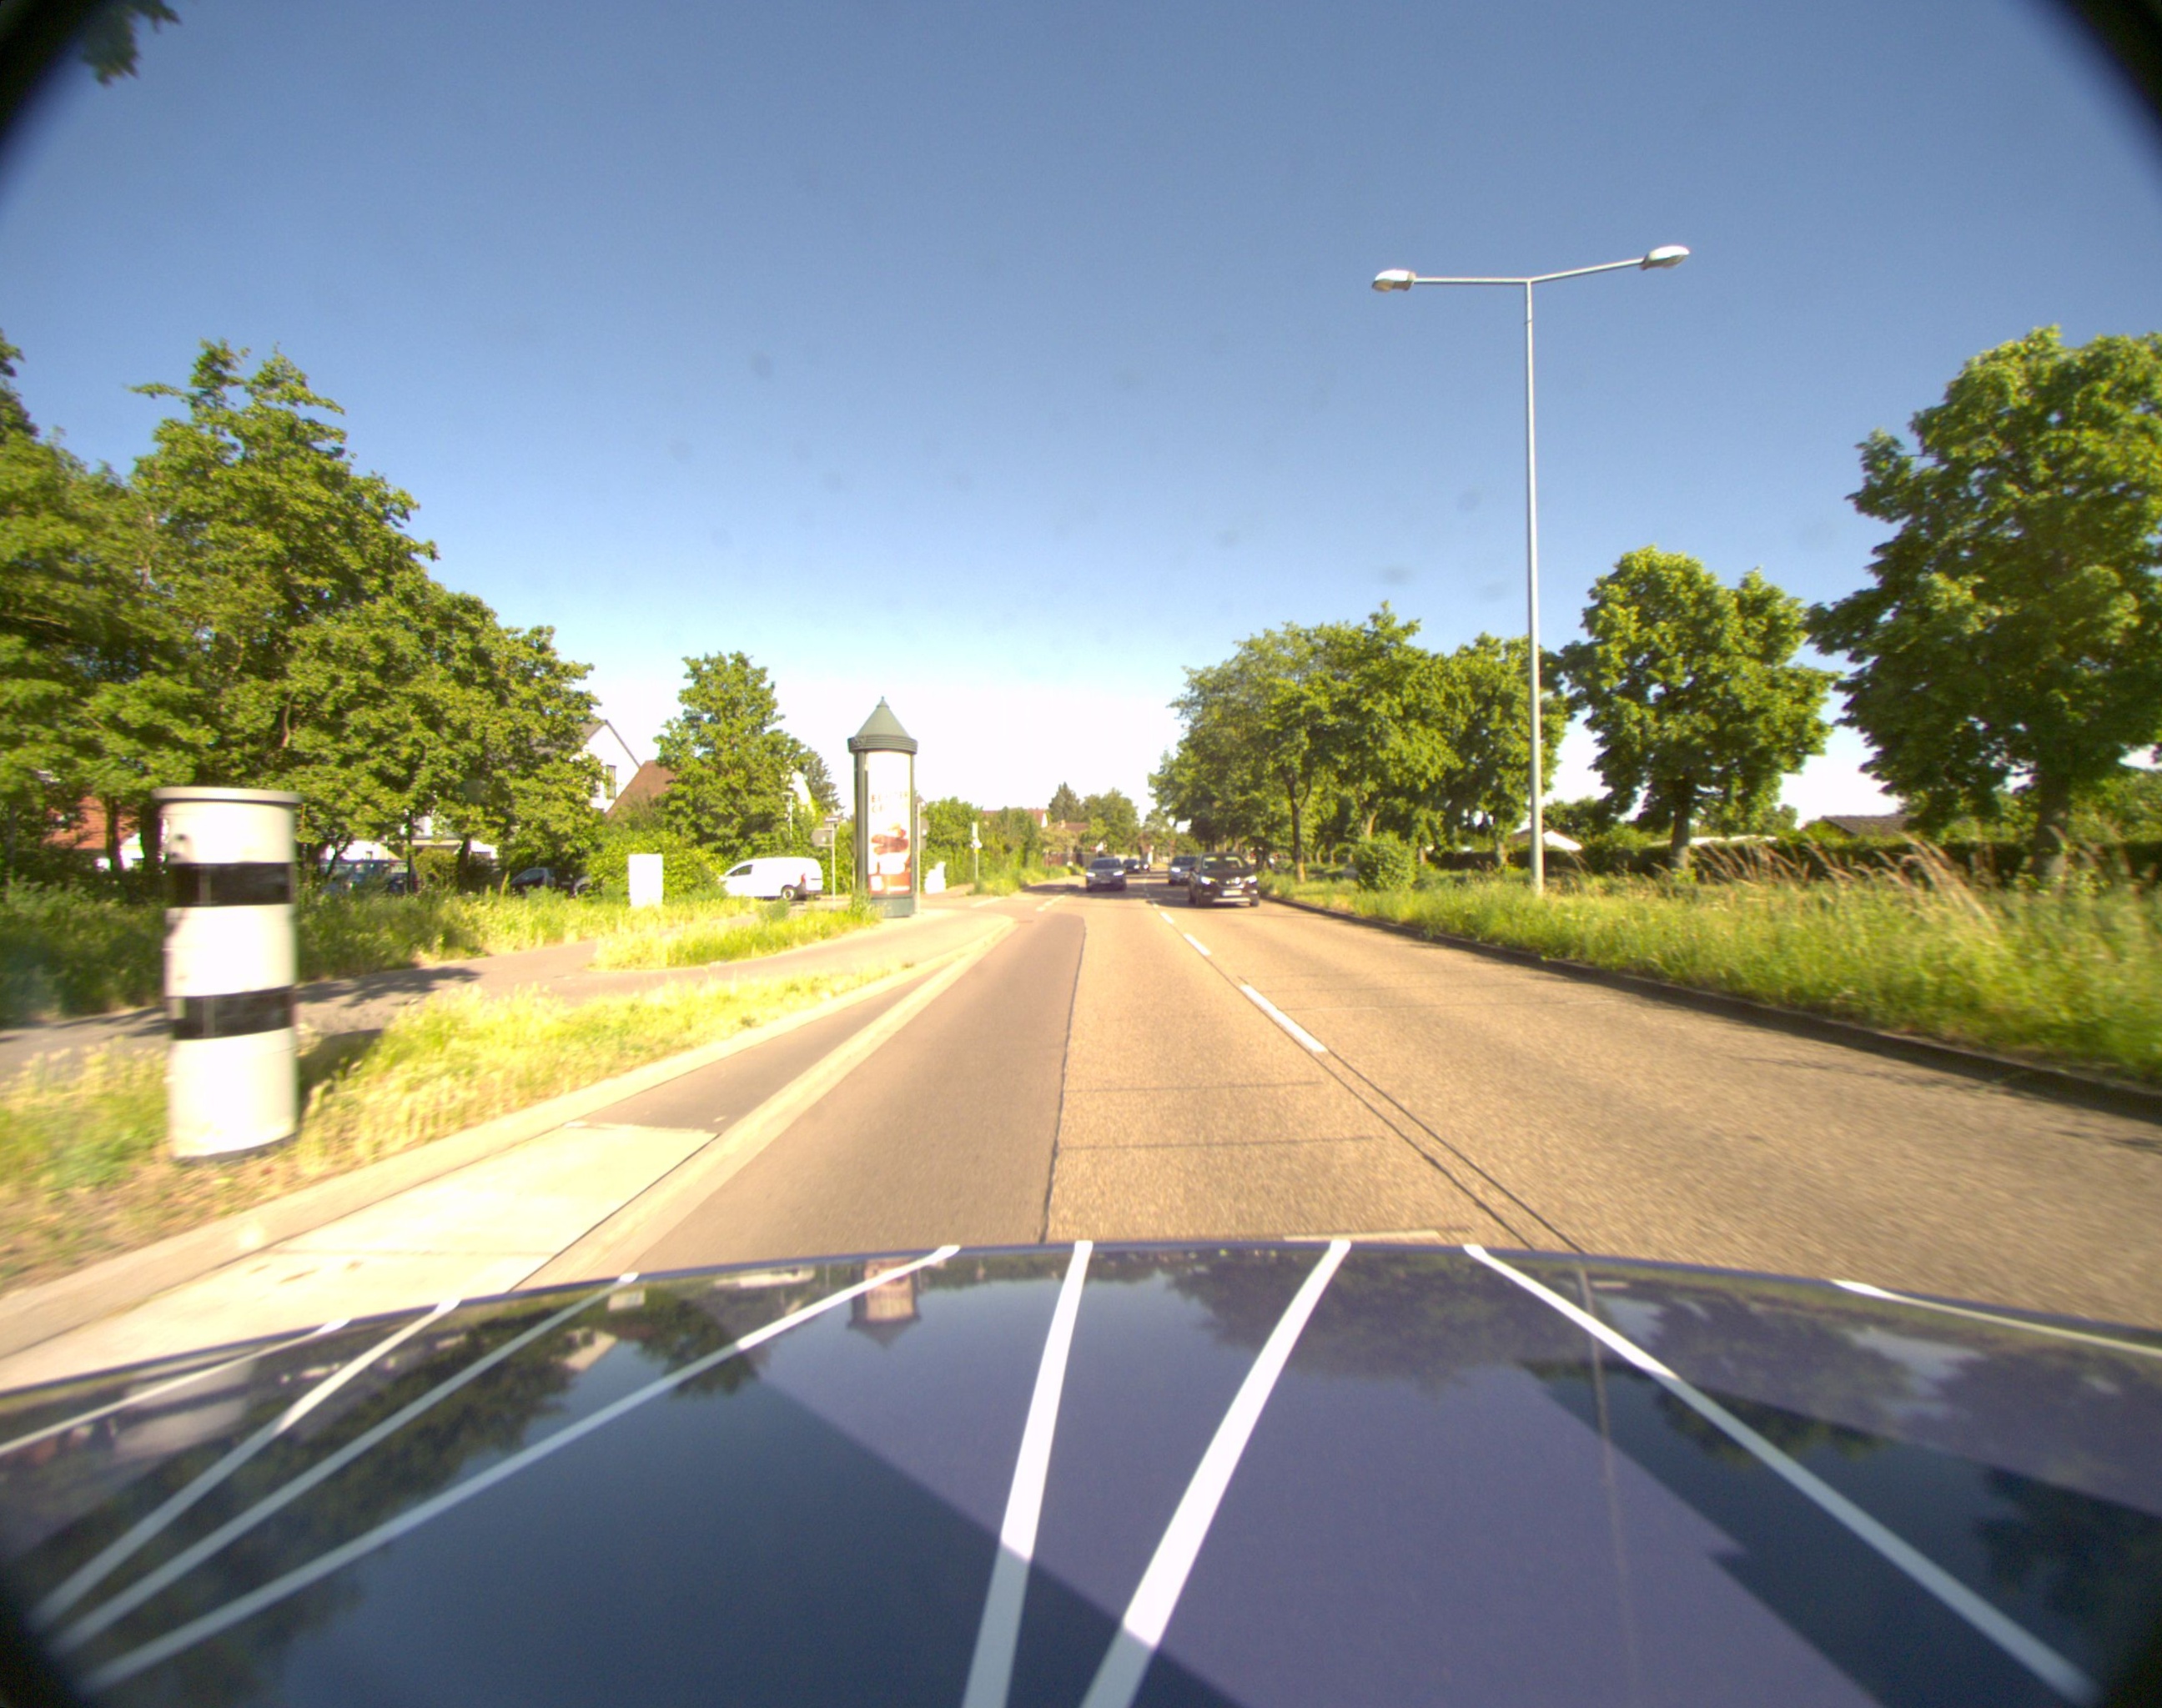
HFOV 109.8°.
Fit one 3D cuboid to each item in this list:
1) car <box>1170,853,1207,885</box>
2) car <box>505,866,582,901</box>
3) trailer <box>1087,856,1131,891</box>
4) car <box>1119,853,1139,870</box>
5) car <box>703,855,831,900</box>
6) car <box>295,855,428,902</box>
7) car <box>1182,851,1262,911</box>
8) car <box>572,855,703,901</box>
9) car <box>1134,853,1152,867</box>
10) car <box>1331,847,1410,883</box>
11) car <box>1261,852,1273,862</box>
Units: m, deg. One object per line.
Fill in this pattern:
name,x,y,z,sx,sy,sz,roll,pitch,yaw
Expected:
car,5.771,0.775,41.130,1.823,1.553,4.648,-2,0,6
car,-23.722,1.282,33.597,2.351,1.480,1.541,-1,-1,6
trailer,1.432,0.919,37.369,1.897,1.585,4.002,-2,0,4
car,4.685,0.702,73.709,1.823,1.553,4.273,-1,1,5
car,-13.283,1.001,32.287,4.640,1.790,1.934,-1,-1,6
car,-32.595,1.119,34.490,4.387,2.033,1.988,-1,-1,6
car,4.250,0.745,23.533,1.810,1.605,4.515,-1,1,3
car,-19.050,1.039,32.764,4.526,1.857,2.073,-1,-1,6
car,7.637,0.756,93.330,1.822,1.587,4.276,-2,0,10
car,13.920,0.510,36.888,1.861,1.596,5.575,1,0,2
car,28.475,0.448,116.208,1.695,1.428,4.945,1,0,13
